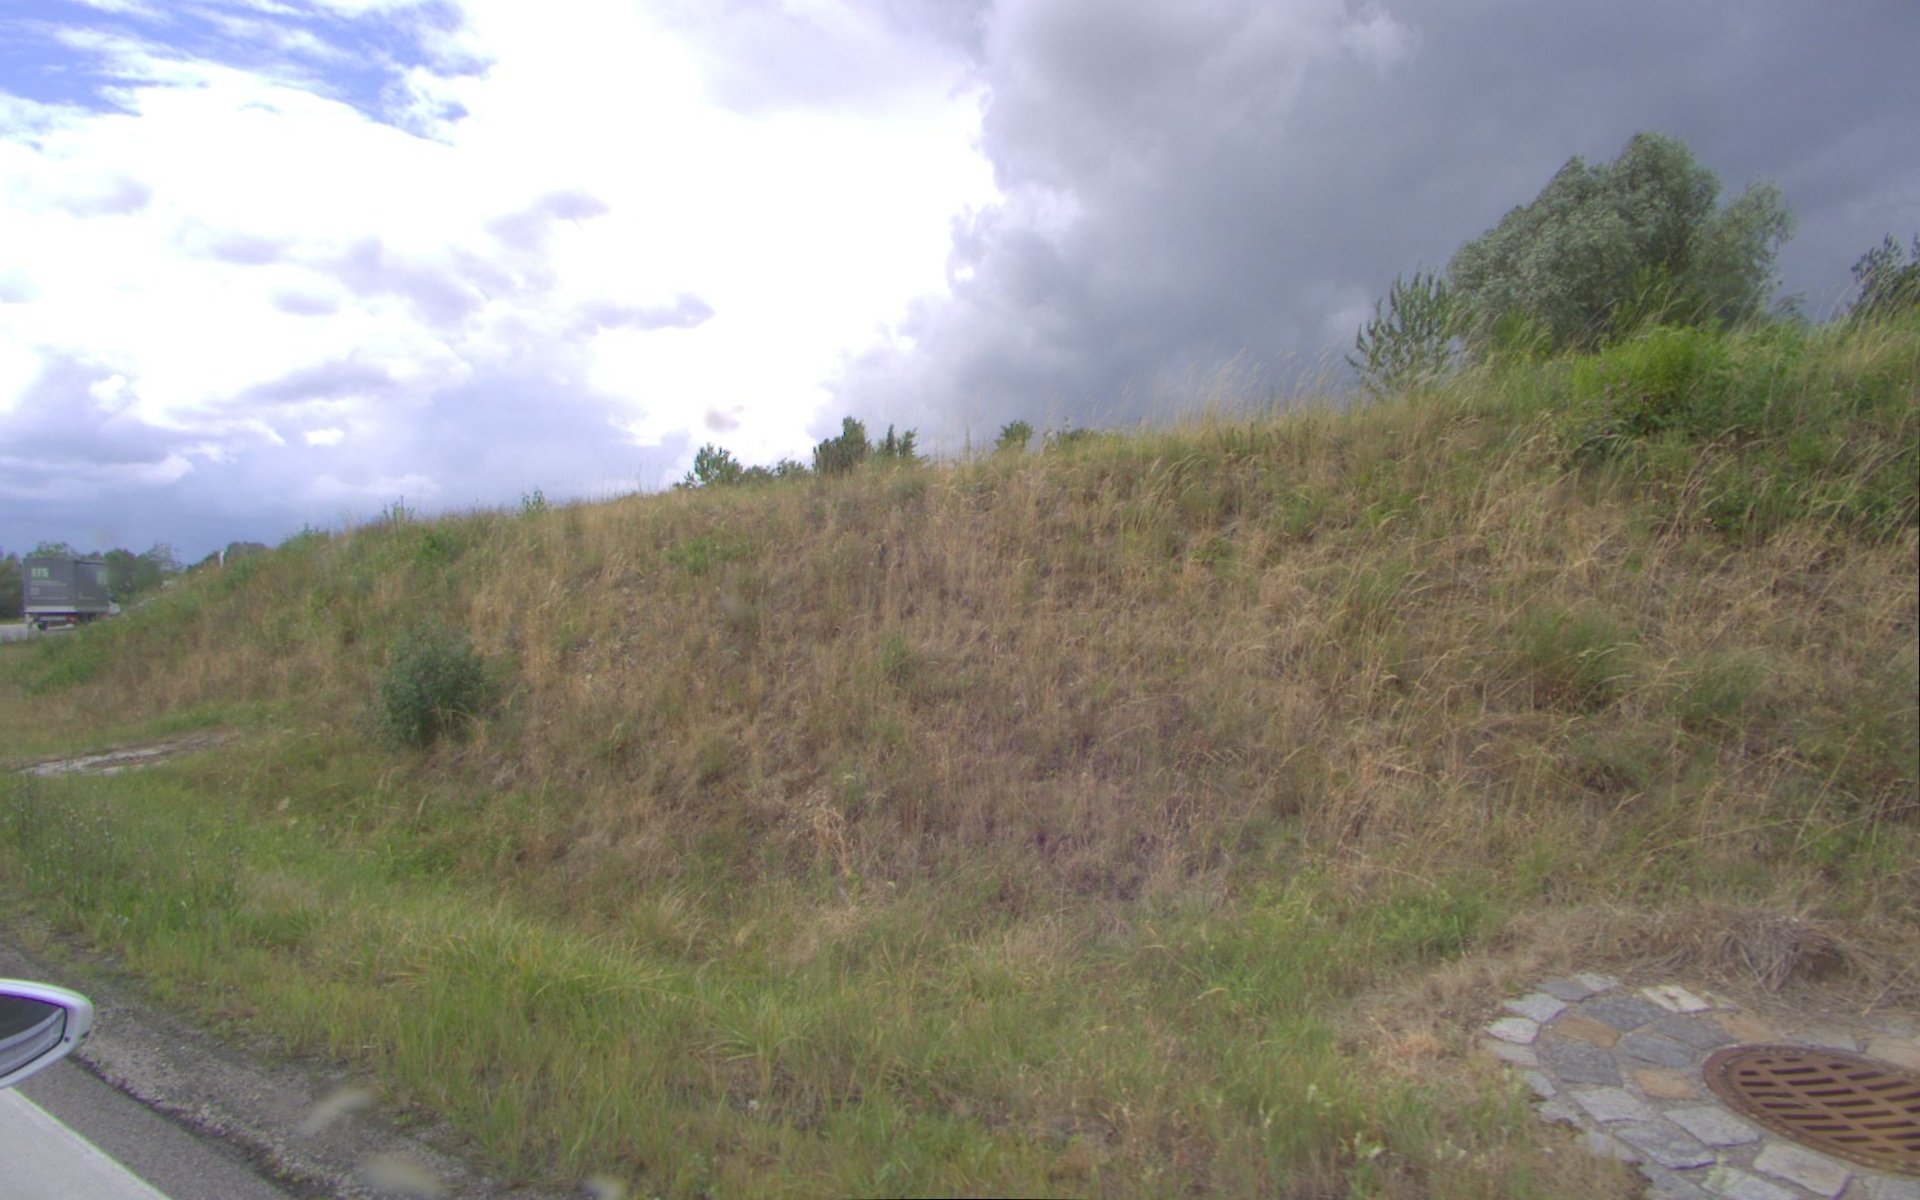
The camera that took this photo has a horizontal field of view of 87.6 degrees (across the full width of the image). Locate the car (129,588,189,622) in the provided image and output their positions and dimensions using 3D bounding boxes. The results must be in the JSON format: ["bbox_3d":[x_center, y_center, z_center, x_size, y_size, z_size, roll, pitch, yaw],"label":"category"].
[{"bbox_3d":[-51.751,0.344,64.783,1.968,2.039,3.988,0,-2,-23],"label":"car"}]

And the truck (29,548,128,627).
[{"bbox_3d":[-47.429,-0.533,54.060,2.199,3.956,5.999,0,-2,-23],"label":"truck"}]
